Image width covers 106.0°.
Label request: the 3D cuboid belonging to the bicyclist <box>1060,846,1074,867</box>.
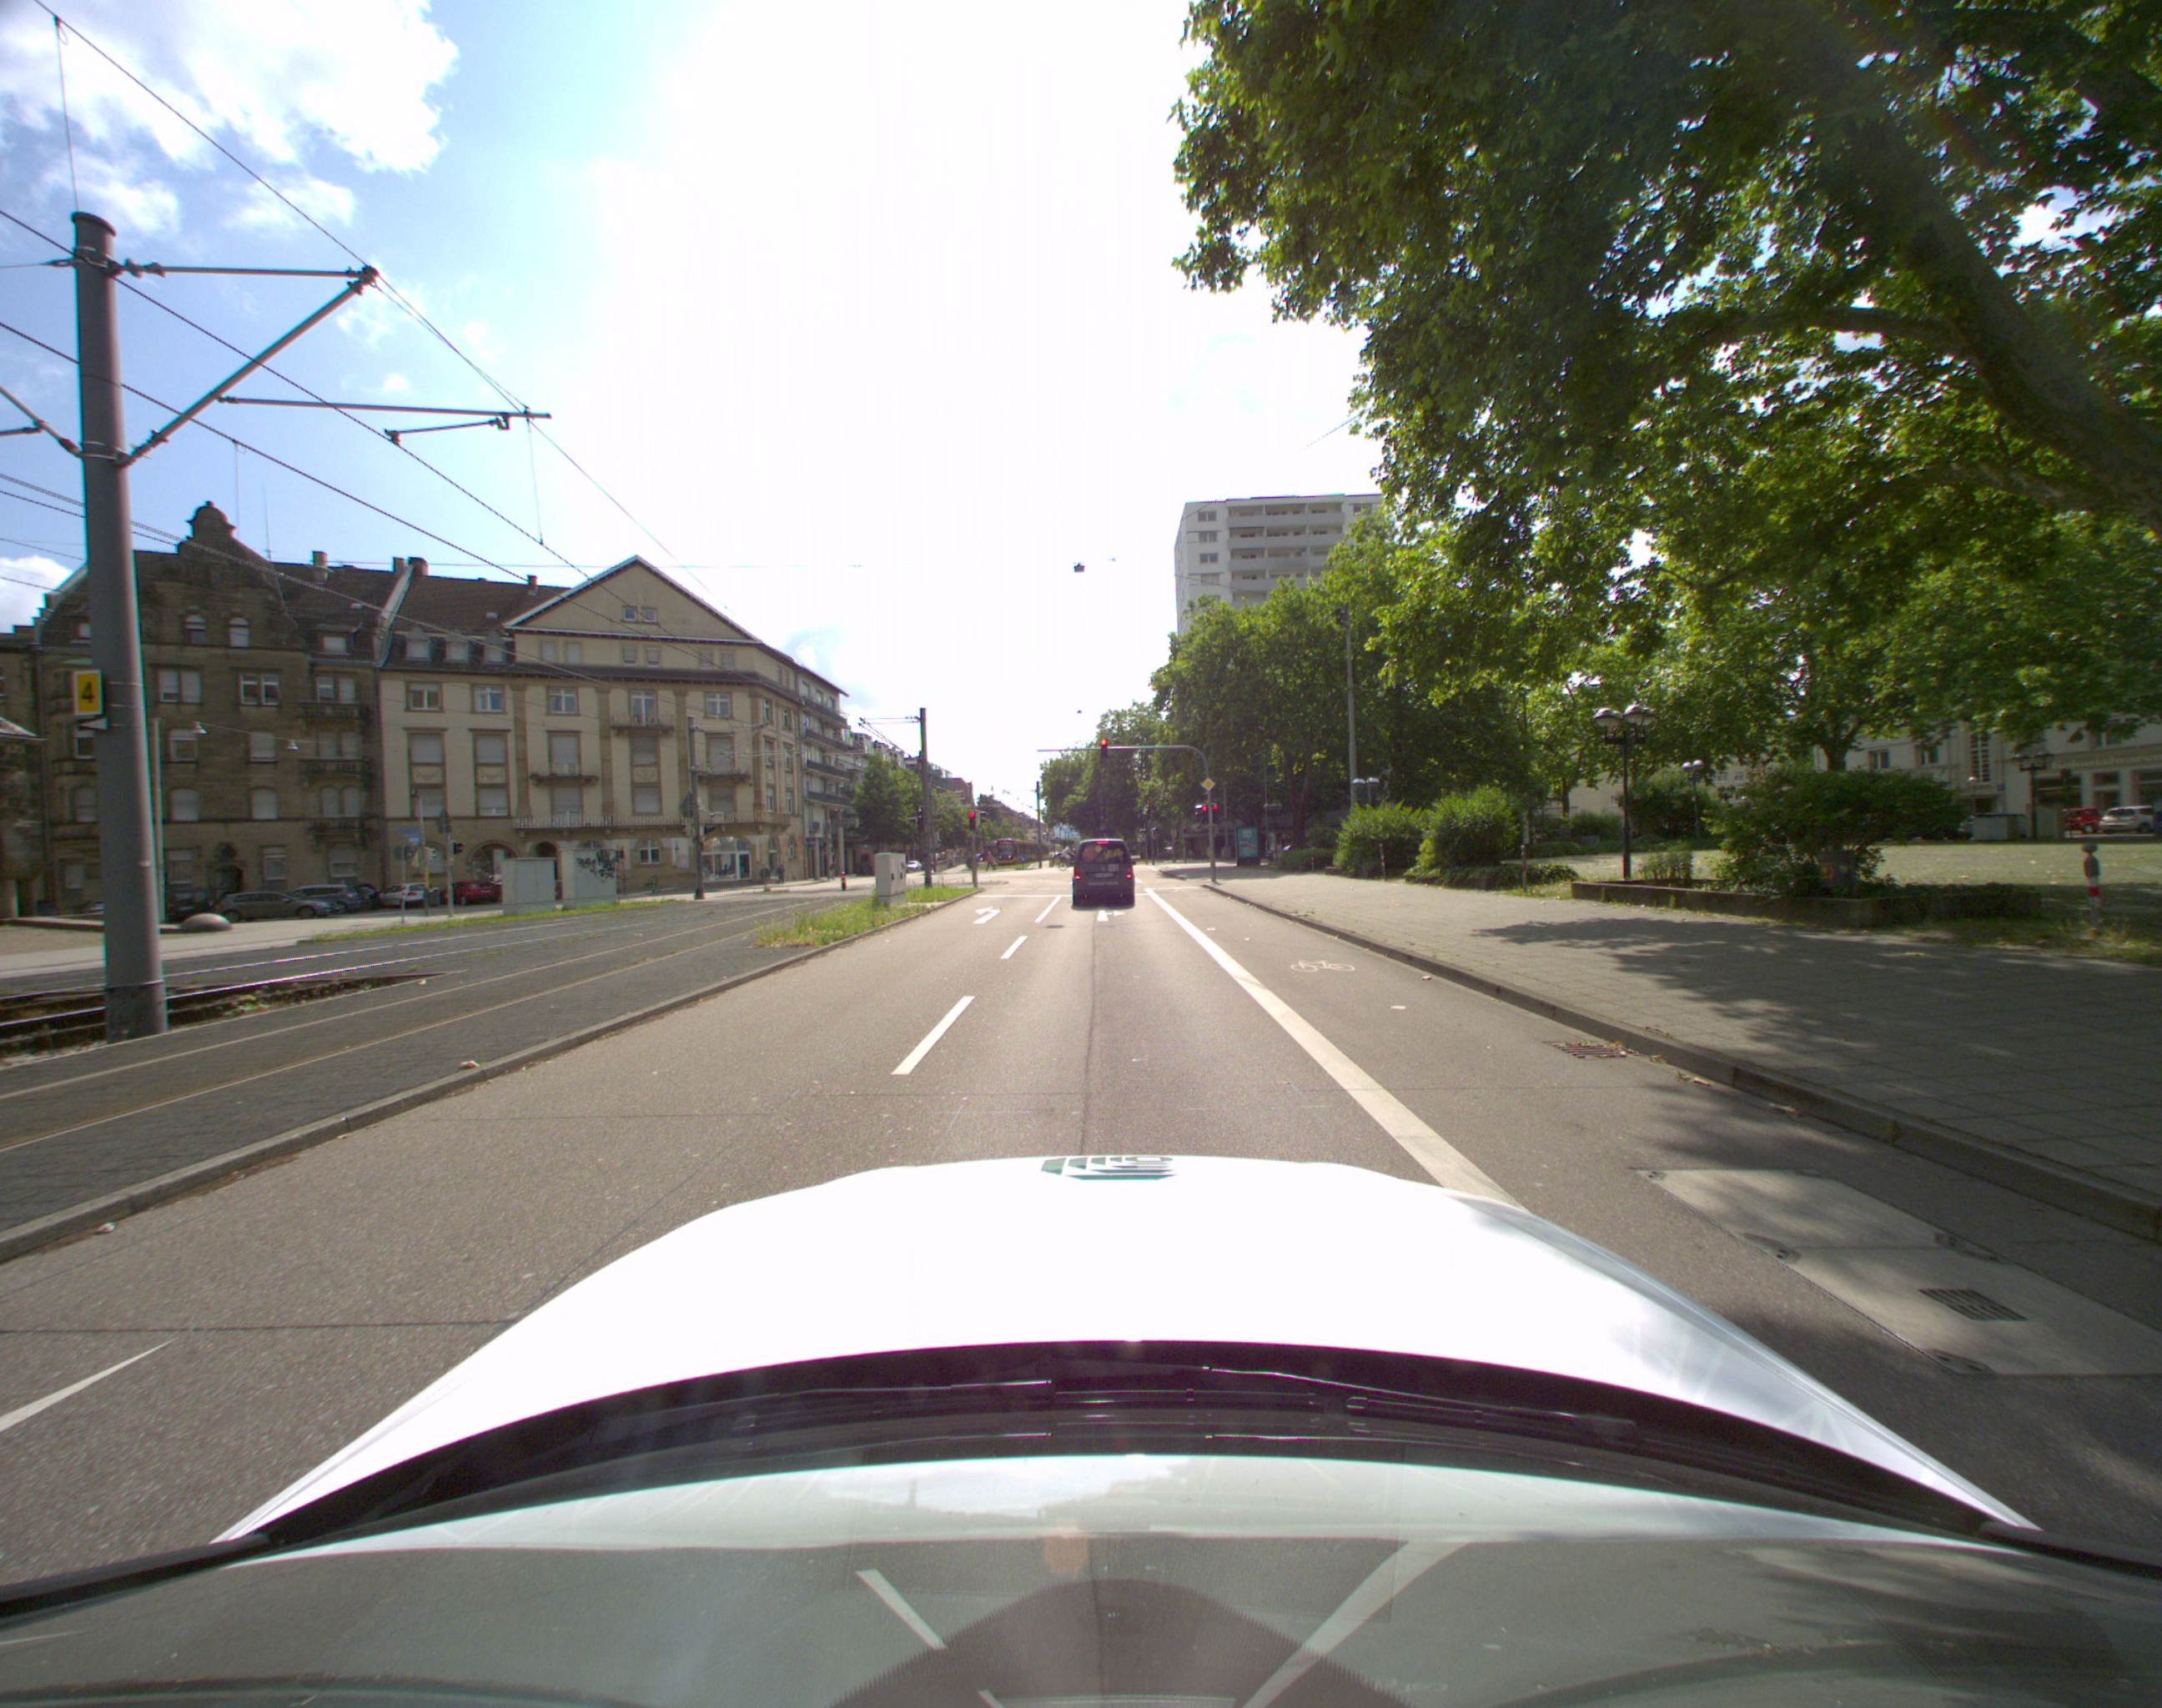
[{"bbox_3d":[-1.033,0.178,60.015,0.994,1.511,0.781,-3,0,0],"label":"bicyclist"}]

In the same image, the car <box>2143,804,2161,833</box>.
[{"bbox_3d":[57.931,-1.943,41.763,4.238,1.521,1.987,-3,0,1],"label":"car"}]

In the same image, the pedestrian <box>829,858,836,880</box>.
[{"bbox_3d":[-22.853,1.366,74.966,0.476,2.013,0.419,-3,0,-4],"label":"pedestrian"}]

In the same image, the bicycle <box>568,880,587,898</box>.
[{"bbox_3d":[-33.447,2.319,54.122,0.808,1.053,2.543,-3,0,-28],"label":"bicycle"}]

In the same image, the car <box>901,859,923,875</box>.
[{"bbox_3d":[-23.464,1.745,113.227,1.986,2.013,4.001,-3,0,1],"label":"car"}]

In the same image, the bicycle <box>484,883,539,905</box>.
[{"bbox_3d":[-36.167,2.522,51.723,3.283,1.253,1.003,-3,0,17],"label":"bicycle"}]

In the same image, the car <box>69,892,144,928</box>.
[{"bbox_3d":[-52.834,3.023,44.139,3.948,1.737,2.013,-3,0,31],"label":"car"}]

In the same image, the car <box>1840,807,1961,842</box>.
[{"bbox_3d":[47.219,-1.696,47.019,4.661,1.706,2.193,-3,0,3],"label":"car"}]

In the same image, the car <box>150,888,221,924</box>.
[{"bbox_3d":[-49.923,2.892,45.387,3.948,1.759,1.900,-3,0,31],"label":"car"}]

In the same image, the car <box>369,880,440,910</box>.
[{"bbox_3d":[-41.235,2.484,49.646,3.950,1.639,1.813,-3,0,26],"label":"car"}]

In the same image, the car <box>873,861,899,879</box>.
[{"bbox_3d":[-23.838,1.926,99.773,1.986,2.013,4.001,-3,0,1],"label":"car"}]

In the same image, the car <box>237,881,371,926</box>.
[{"bbox_3d":[-42.064,2.649,44.258,4.813,2.013,1.984,-3,0,-24],"label":"car"}]

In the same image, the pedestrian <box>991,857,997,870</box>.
[{"bbox_3d":[-7.905,0.848,74.211,0.462,1.144,0.435,-3,0,1],"label":"pedestrian"}]

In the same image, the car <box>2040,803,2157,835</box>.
[{"bbox_3d":[58.877,-2.013,47.189,4.238,1.521,1.987,-3,0,1],"label":"car"}]

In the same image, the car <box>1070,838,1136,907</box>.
[{"bbox_3d":[0.657,0.485,23.659,1.744,1.808,3.476,-1,0,2],"label":"car"}]

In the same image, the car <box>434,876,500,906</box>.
[{"bbox_3d":[-38.232,2.331,50.680,3.948,1.674,2.013,-3,0,34],"label":"car"}]

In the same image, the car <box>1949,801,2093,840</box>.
[{"bbox_3d":[48.121,-1.679,41.787,4.661,1.706,2.193,-3,0,3],"label":"car"}]

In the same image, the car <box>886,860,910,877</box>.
[{"bbox_3d":[-23.504,1.899,104.716,1.986,2.013,4.001,-3,0,1],"label":"car"}]

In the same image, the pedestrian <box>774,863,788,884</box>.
[{"bbox_3d":[-23.335,1.533,63.392,0.690,1.595,0.861,-3,0,-3],"label":"pedestrian"}]

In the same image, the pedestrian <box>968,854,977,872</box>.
[{"bbox_3d":[-10.077,0.840,75.691,0.657,1.685,0.656,-3,0,1],"label":"pedestrian"}]

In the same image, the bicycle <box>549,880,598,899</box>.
[{"bbox_3d":[-32.736,2.301,52.558,2.571,1.053,0.676,-3,0,-27],"label":"bicycle"}]

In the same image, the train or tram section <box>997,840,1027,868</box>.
[{"bbox_3d":[-8.941,-0.016,106.715,2.232,3.331,12.977,-3,0,2],"label":"train or tram section"}]

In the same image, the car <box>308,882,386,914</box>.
[{"bbox_3d":[-43.470,2.589,48.243,3.950,1.673,2.012,-3,0,26],"label":"car"}]

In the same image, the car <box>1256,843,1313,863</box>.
[{"bbox_3d":[16.918,-0.075,67.647,4.499,1.390,1.694,-3,0,-23],"label":"car"}]

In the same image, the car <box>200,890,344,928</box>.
[{"bbox_3d":[-38.967,2.612,39.365,4.575,1.436,1.694,-3,0,-23],"label":"car"}]

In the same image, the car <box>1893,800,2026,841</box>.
[{"bbox_3d":[47.616,-1.781,44.245,4.661,1.929,2.193,-3,0,3],"label":"car"}]

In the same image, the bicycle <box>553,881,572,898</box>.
[{"bbox_3d":[-34.212,2.340,53.722,0.808,1.053,2.543,-3,0,-28],"label":"bicycle"}]

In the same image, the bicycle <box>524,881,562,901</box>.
[{"bbox_3d":[-33.786,2.328,51.158,1.985,1.114,0.482,-3,0,-36],"label":"bicycle"}]

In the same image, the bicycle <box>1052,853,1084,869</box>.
[{"bbox_3d":[-0.963,0.538,60.010,2.294,1.048,0.897,-3,0,0],"label":"bicycle"}]

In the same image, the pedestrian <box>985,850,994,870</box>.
[{"bbox_3d":[-8.235,0.574,73.619,0.657,1.784,0.661,-3,0,1],"label":"pedestrian"}]

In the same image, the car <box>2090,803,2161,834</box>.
[{"bbox_3d":[58.424,-1.985,44.436,4.238,1.521,1.987,-3,0,1],"label":"car"}]
